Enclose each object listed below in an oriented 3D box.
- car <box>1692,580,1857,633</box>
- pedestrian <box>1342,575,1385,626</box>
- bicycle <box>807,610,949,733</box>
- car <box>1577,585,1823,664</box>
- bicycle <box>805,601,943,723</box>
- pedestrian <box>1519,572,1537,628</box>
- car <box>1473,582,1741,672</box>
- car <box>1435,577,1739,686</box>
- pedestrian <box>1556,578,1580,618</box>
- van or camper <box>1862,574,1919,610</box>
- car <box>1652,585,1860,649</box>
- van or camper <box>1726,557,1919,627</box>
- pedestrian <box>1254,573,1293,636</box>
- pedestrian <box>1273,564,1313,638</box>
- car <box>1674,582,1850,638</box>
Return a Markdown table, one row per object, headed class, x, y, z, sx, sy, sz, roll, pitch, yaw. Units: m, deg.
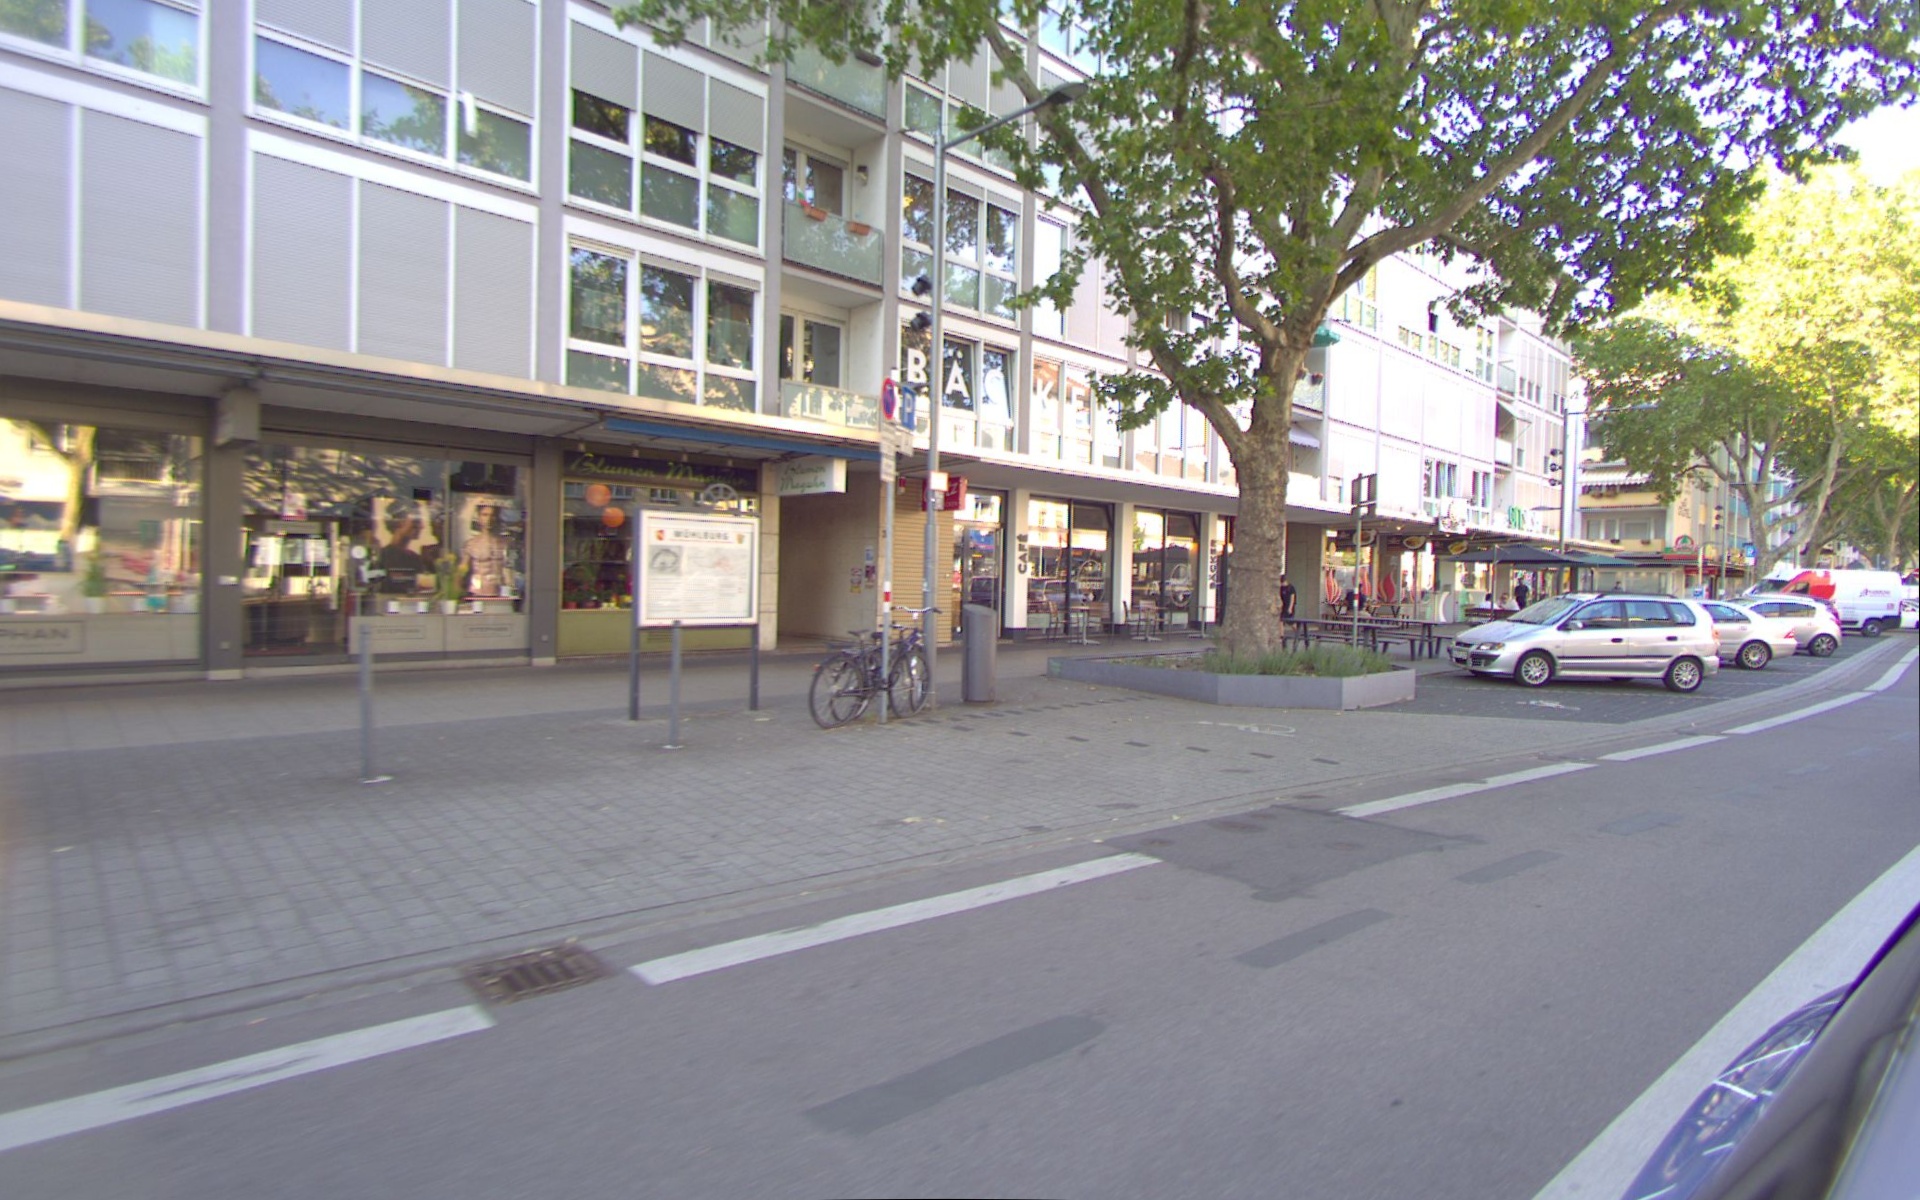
| class | x | y | z | sx | sy | sz | roll | pitch | yaw |
| --- | --- | --- | --- | --- | --- | --- | --- | --- | --- |
| car | 27.261 | 0.200 | 33.976 | 3.931 | 1.582 | 1.657 | 2 | 3 | 7 |
| pedestrian | 11.390 | 0.004 | 28.554 | 0.945 | 1.379 | 0.750 | 0 | 1 | -39 |
| bicycle | -0.766 | 0.654 | 9.906 | 0.293 | 1.053 | 1.695 | 5 | 4 | 36 |
| car | 15.816 | 0.490 | 21.798 | 3.928 | 1.454 | 1.659 | 2 | 3 | 4 |
| bicycle | -0.834 | 0.585 | 10.283 | 0.293 | 1.114 | 1.695 | 5 | 4 | 36 |
| pedestrian | 20.643 | -0.004 | 36.770 | 0.548 | 2.039 | 0.571 | -1 | -1 | 32 |
| car | 12.310 | 0.474 | 19.437 | 3.923 | 1.525 | 1.810 | 1 | 1 | -1 |
| car | 10.409 | 0.479 | 17.013 | 3.923 | 1.626 | 1.810 | 1 | 1 | -1 |
| pedestrian | 25.359 | -0.091 | 42.212 | 0.530 | 1.610 | 0.685 | 3 | 3 | 10 |
| van or camper | 66.609 | -0.549 | 70.568 | 5.365 | 2.500 | 1.998 | 1 | 1 | 5 |
| car | 20.887 | 0.411 | 26.690 | 3.931 | 1.454 | 1.657 | 2 | 3 | 7 |
| van or camper | 32.836 | -0.321 | 38.659 | 5.369 | 2.500 | 1.997 | 1 | 1 | 7 |
| pedestrian | 7.252 | 0.095 | 23.436 | 0.676 | 1.417 | 0.537 | 0 | 4 | -44 |
| pedestrian | 7.525 | 0.013 | 22.871 | 0.676 | 1.610 | 0.537 | 0 | 4 | -44 |
| car | 25.047 | 0.277 | 31.720 | 3.931 | 1.541 | 1.657 | 2 | 3 | 7 |
